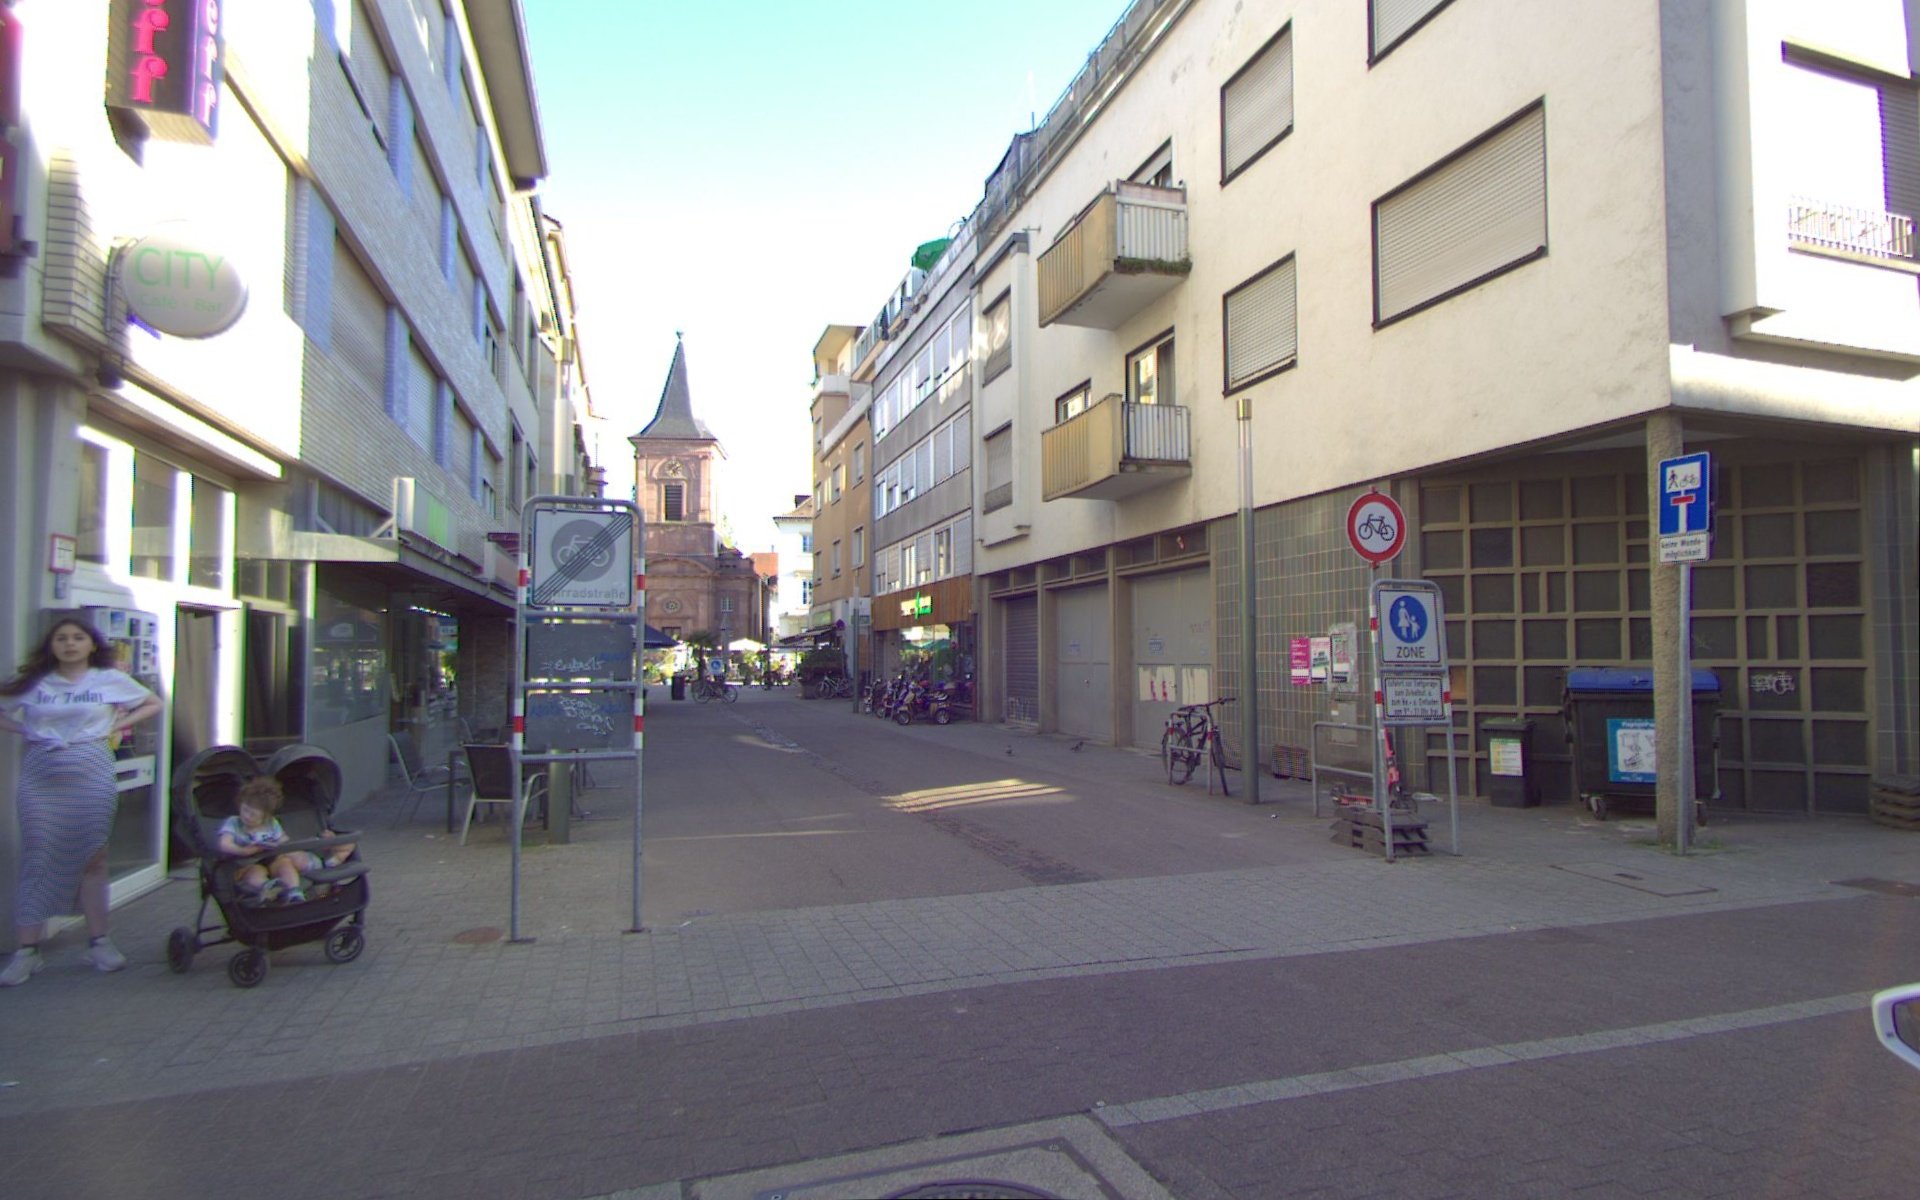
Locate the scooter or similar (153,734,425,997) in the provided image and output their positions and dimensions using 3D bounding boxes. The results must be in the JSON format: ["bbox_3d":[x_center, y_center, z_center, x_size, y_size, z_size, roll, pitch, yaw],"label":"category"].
[{"bbox_3d":[-3.560,1.343,5.369,0.936,1.158,0.799,-1,-3,24],"label":"scooter or similar"}]

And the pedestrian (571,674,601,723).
[{"bbox_3d":[-10.955,2.870,29.408,0.702,1.386,0.714,2,-4,-30],"label":"pedestrian"}]

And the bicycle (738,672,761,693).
[{"bbox_3d":[-13.899,5.442,66.297,0.360,1.325,1.582,-3,-5,43],"label":"bicycle"}]

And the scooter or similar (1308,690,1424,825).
[{"bbox_3d":[4.107,1.559,10.232,0.303,1.269,1.233,1,-4,-21],"label":"scooter or similar"}]

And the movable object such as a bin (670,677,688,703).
[{"bbox_3d":[-12.094,3.855,43.229,0.712,1.088,0.373,1,-4,-20],"label":"movable object such as a bin"}]

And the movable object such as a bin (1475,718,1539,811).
[{"bbox_3d":[5.881,1.750,10.813,0.531,0.935,0.513,-2,-4,25],"label":"movable object such as a bin"}]

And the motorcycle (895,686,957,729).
[{"bbox_3d":[-0.869,2.751,25.762,1.538,1.055,0.373,-1,-4,0],"label":"motorcycle"}]

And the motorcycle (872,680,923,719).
[{"bbox_3d":[-1.830,2.930,29.572,1.459,1.089,0.412,-1,-4,0],"label":"motorcycle"}]

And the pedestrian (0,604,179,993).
[{"bbox_3d":[-4.554,0.951,5.206,0.561,1.843,0.657,-1,-1,36],"label":"pedestrian"}]

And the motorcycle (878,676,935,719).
[{"bbox_3d":[-1.527,2.778,28.730,1.598,1.190,0.481,-1,-4,0],"label":"motorcycle"}]

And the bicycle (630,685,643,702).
[{"bbox_3d":[-16.600,4.787,51.564,0.450,0.861,2.141,1,-4,-14],"label":"bicycle"}]

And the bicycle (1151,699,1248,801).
[{"bbox_3d":[2.919,1.802,12.391,0.440,1.154,1.707,1,-5,-13],"label":"bicycle"}]

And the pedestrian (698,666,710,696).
[{"bbox_3d":[-15.589,4.949,61.252,0.608,1.832,0.612,1,-4,-22],"label":"pedestrian"}]

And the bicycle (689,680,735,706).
[{"bbox_3d":[-10.084,3.780,40.860,1.803,1.018,0.379,1,-4,-22],"label":"bicycle"}]

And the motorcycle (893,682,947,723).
[{"bbox_3d":[-1.091,2.820,27.621,1.459,1.089,0.412,-1,-4,0],"label":"motorcycle"}]

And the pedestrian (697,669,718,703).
[{"bbox_3d":[-11.274,3.827,44.876,0.872,1.483,0.728,1,-4,-17],"label":"pedestrian"}]

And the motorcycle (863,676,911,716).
[{"bbox_3d":[-2.257,2.991,31.275,1.460,1.196,0.412,-1,-4,-3],"label":"motorcycle"}]

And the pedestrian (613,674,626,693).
[{"bbox_3d":[-21.794,5.337,64.316,0.690,1.233,0.718,0,-4,-12],"label":"pedestrian"}]

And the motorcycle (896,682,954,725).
[{"bbox_3d":[-0.927,2.742,26.608,1.491,1.089,0.412,-1,-4,0],"label":"motorcycle"}]

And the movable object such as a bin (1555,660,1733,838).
[{"bbox_3d":[6.753,1.420,10.025,1.268,1.610,1.154,-2,-3,27],"label":"movable object such as a bin"}]

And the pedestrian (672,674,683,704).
[{"bbox_3d":[-17.290,5.433,61.452,0.608,1.832,0.612,1,-4,-22],"label":"pedestrian"}]

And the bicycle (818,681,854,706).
[{"bbox_3d":[-5.135,3.864,41.688,1.442,1.018,0.572,0,-4,-11],"label":"bicycle"}]
